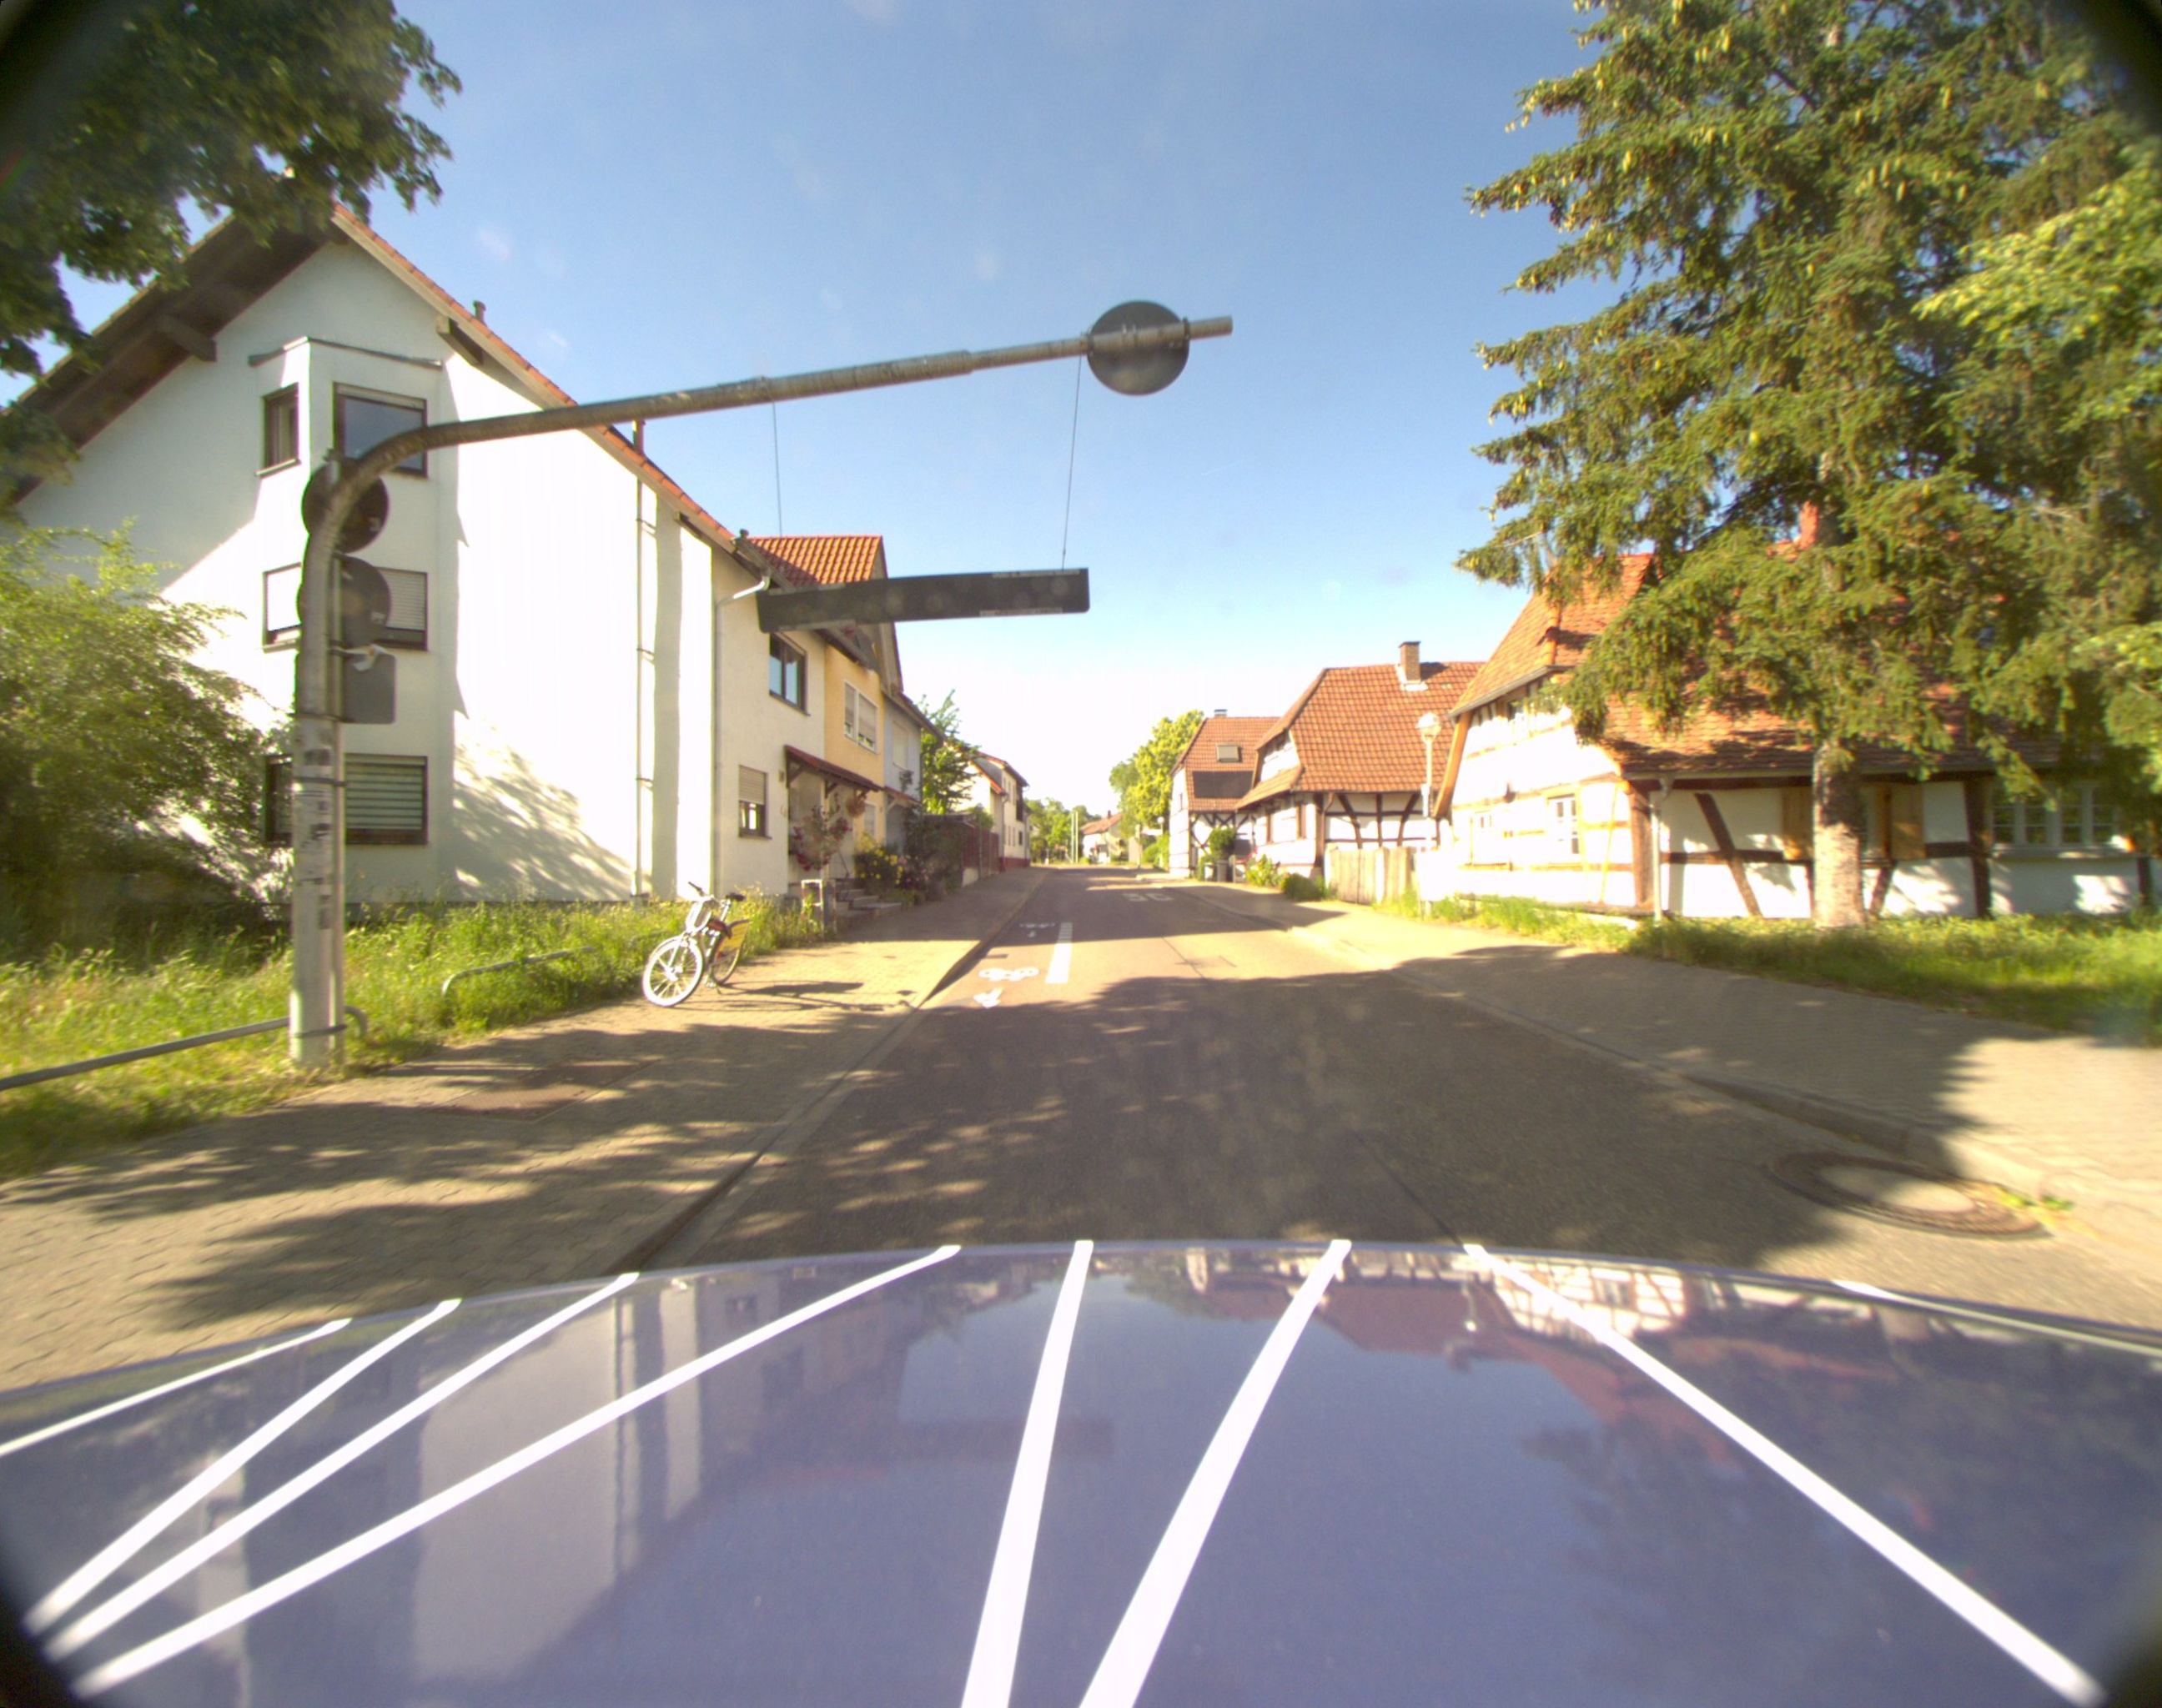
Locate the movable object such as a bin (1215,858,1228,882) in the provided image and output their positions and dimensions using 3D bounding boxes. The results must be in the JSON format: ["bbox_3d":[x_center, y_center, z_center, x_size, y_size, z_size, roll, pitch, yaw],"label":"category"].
[{"bbox_3d":[6.714,0.767,36.339,0.477,1.134,0.667,0,1,0],"label":"movable object such as a bin"}]

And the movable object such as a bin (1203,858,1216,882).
[{"bbox_3d":[6.135,0.769,36.331,0.477,1.134,0.667,0,1,0],"label":"movable object such as a bin"}]

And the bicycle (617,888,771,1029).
[{"bbox_3d":[-3.793,0.978,7.596,0.690,1.150,1.539,4,0,0],"label":"bicycle"}]

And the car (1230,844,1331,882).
[{"bbox_3d":[9.023,0.382,34.659,4.114,1.583,1.819,1,2,0],"label":"car"}]

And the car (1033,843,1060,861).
[{"bbox_3d":[-3.909,-0.238,85.072,1.967,1.908,4.571,-1,0,-15],"label":"car"}]

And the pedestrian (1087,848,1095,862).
[{"bbox_3d":[1.255,0.119,96.706,0.716,1.793,0.772,-1,2,29],"label":"pedestrian"}]
